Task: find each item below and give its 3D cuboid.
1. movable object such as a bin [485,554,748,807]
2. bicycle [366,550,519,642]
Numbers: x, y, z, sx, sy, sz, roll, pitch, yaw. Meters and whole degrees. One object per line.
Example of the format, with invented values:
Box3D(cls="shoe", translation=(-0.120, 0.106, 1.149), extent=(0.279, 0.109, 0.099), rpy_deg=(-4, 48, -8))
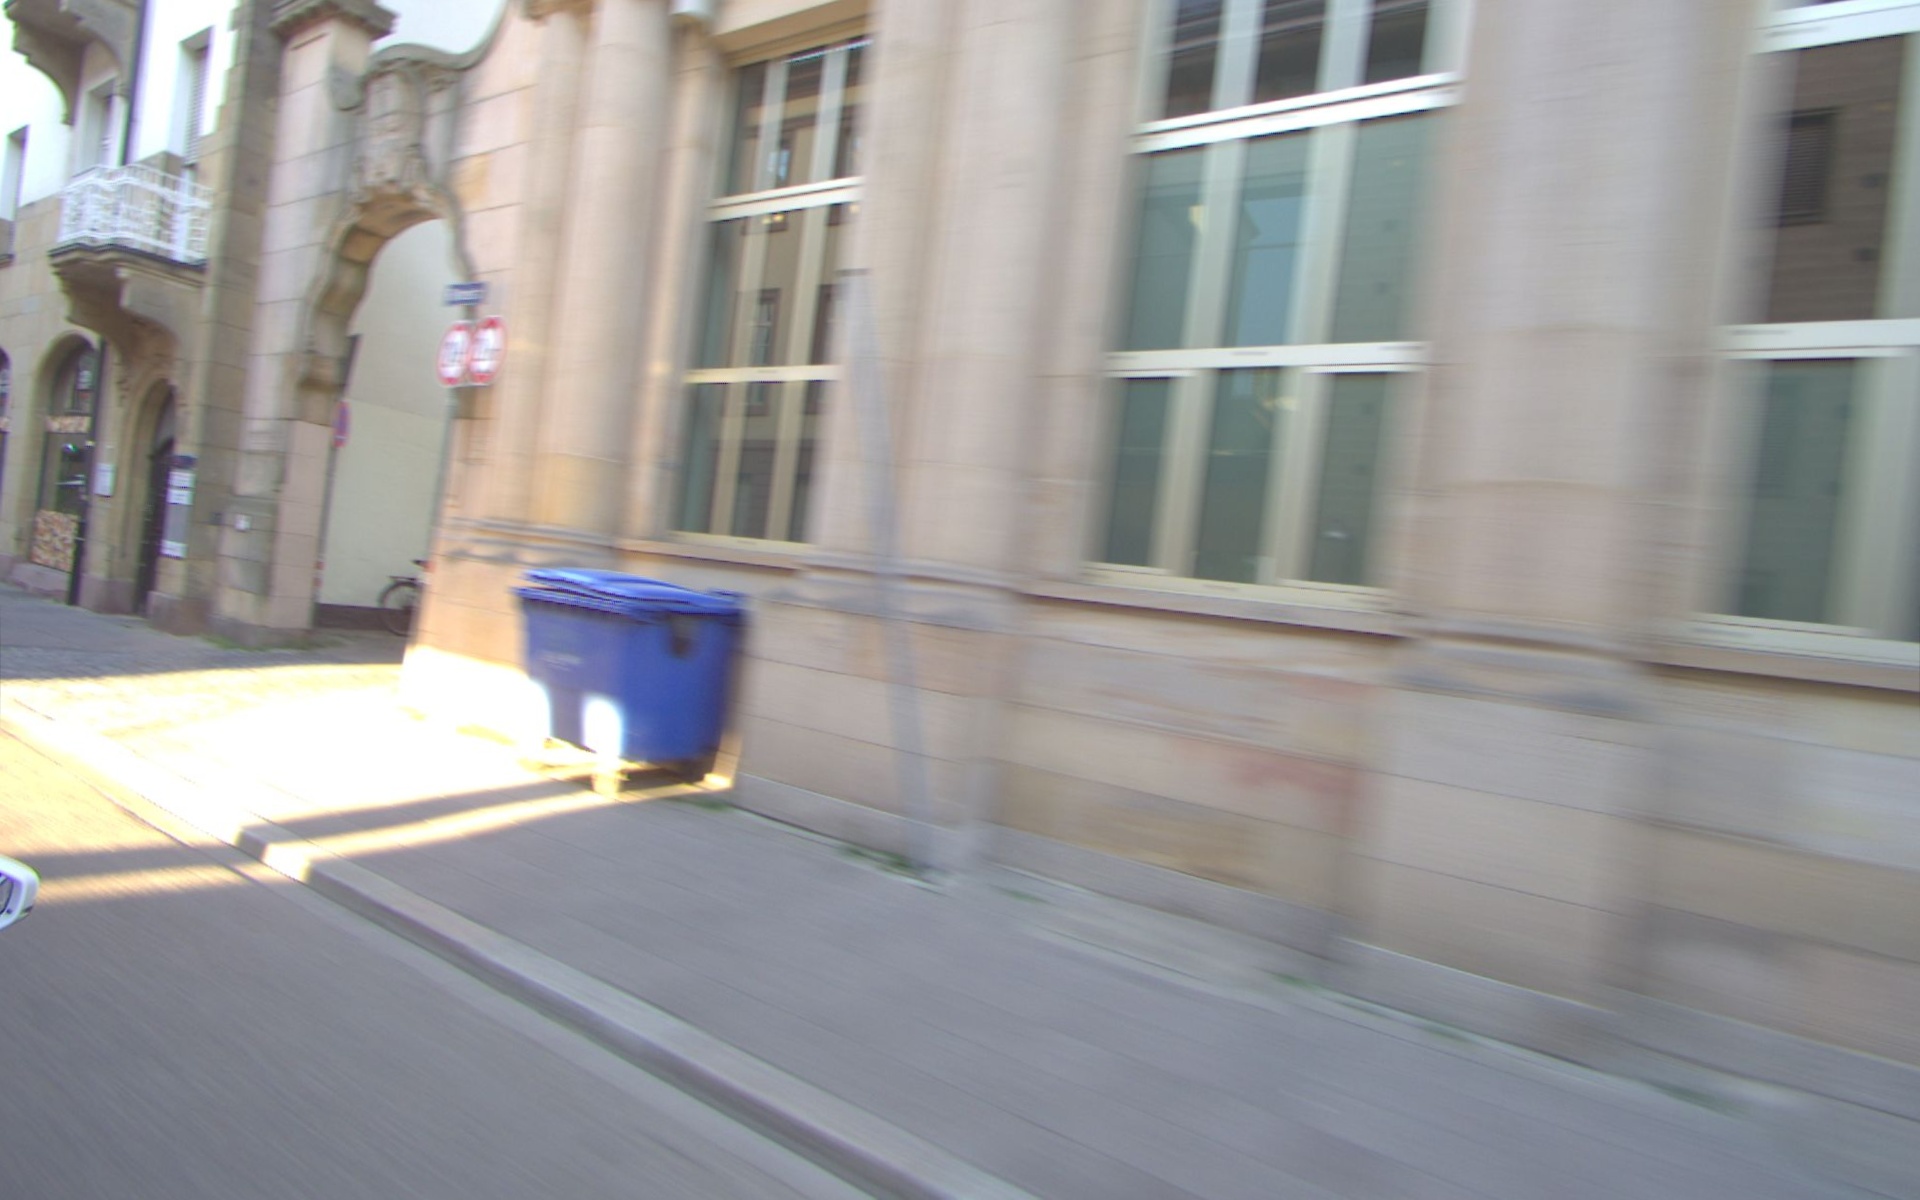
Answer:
Box3D(cls="movable object such as a bin", translation=(-2.275, 0.496, 6.693), extent=(1.220, 1.410, 0.991), rpy_deg=(7, 1, 33))
Box3D(cls="bicycle", translation=(-7.070, -0.025, 13.844), extent=(0.436, 1.079, 1.813), rpy_deg=(7, 0, 33))
